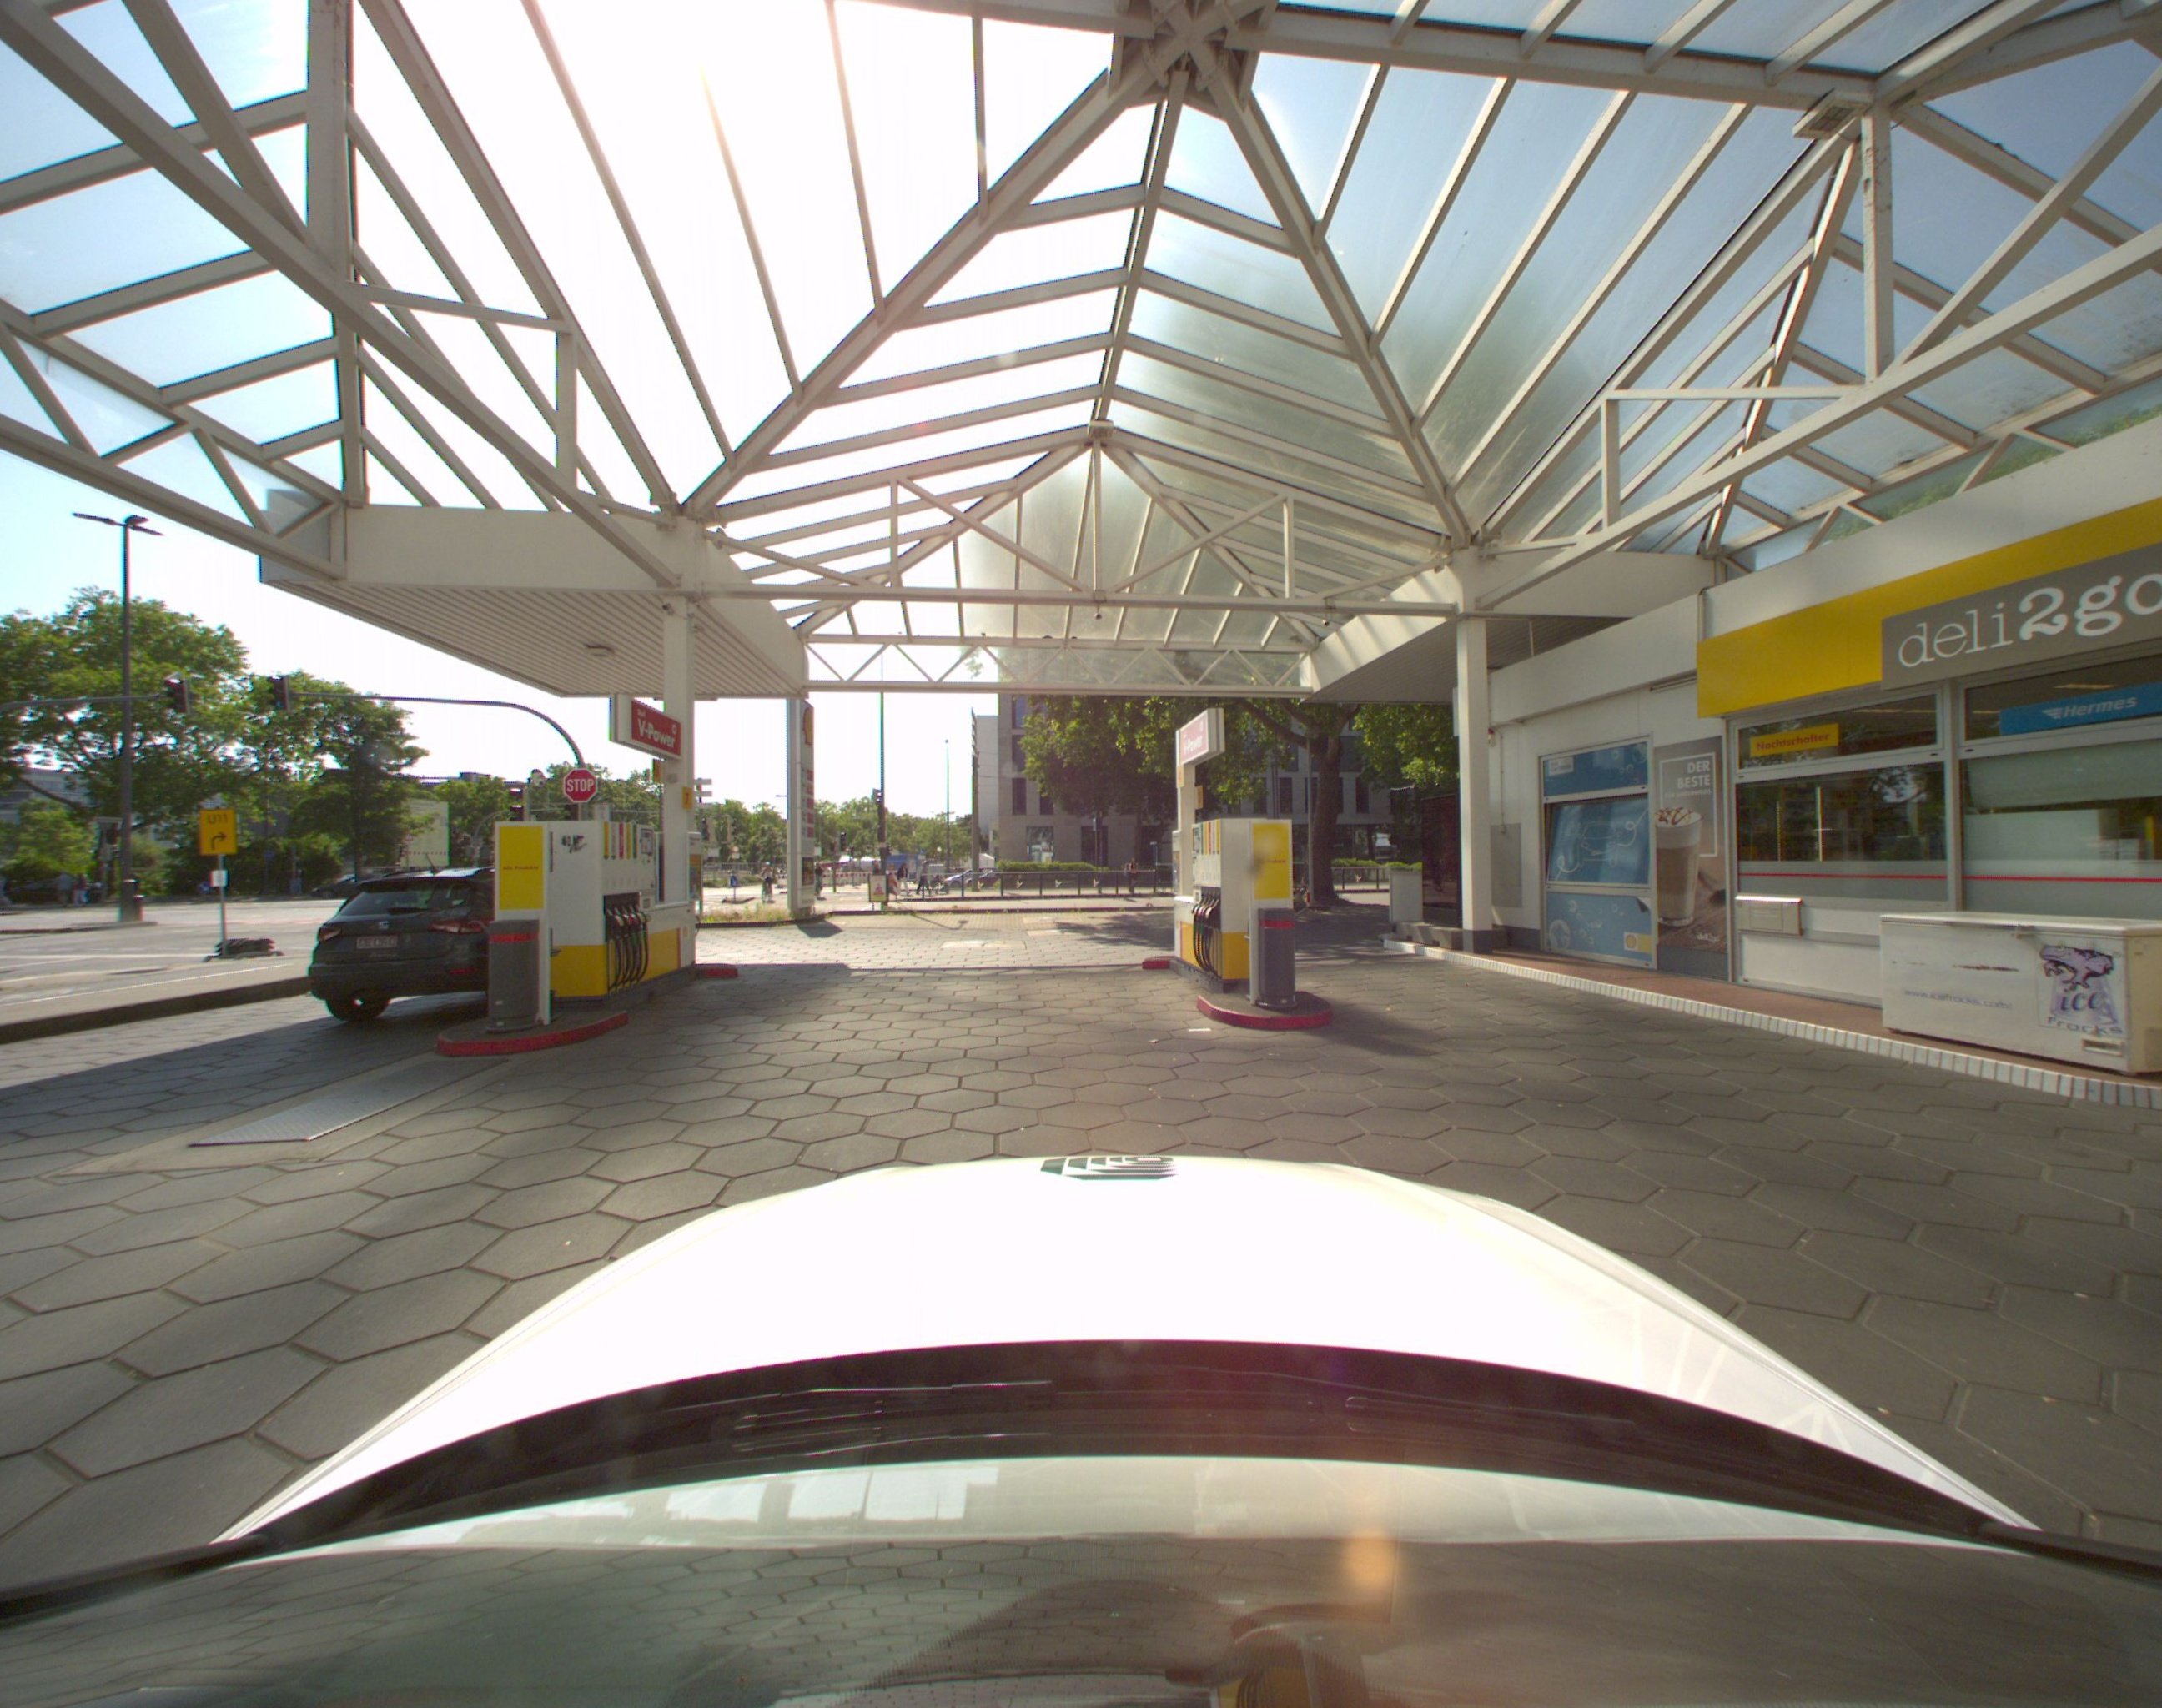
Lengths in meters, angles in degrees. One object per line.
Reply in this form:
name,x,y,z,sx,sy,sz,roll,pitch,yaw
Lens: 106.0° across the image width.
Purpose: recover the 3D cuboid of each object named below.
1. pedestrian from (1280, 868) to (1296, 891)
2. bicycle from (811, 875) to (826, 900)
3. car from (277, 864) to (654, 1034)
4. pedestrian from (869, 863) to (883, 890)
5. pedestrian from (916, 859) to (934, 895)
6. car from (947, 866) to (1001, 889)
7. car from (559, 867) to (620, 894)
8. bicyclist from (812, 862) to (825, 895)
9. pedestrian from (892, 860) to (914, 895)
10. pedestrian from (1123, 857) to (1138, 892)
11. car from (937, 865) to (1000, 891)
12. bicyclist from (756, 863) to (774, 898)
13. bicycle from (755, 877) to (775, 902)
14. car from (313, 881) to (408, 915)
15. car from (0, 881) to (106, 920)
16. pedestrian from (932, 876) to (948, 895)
pedestrian,10.060,1.233,39.661,0.626,1.138,0.524,-1,-1,0
bicycle,-12.563,1.574,38.976,0.525,1.082,1.852,0,1,-24
car,-6.852,0.929,9.706,1.742,1.532,3.991,-2,-1,-6
pedestrian,-11.616,1.260,46.237,0.647,1.540,0.503,-1,-1,3
pedestrian,-7.498,1.110,39.098,0.775,1.683,0.502,-1,-1,-5
car,-7.536,1.643,57.191,3.684,1.552,1.585,-1,-1,-12
car,-38.685,2.060,64.267,1.987,2.014,4.447,-3,-1,0
bicyclist,-12.578,1.167,39.018,0.535,1.544,0.859,0,-2,-23
pedestrian,-8.656,1.143,39.719,0.928,1.683,0.503,-1,-1,3
pedestrian,2.331,0.969,38.448,0.583,1.591,0.669,-1,1,-7
car,-7.321,1.541,53.032,3.989,1.552,1.696,-1,-1,-12
bicyclist,-14.615,1.205,37.657,0.639,1.580,1.167,0,-1,-14
bicycle,-14.615,1.634,37.692,0.639,1.082,2.015,0,-1,-15
car,-44.826,2.712,50.792,4.231,1.805,1.977,-2,-1,-37
car,-60.207,2.686,47.186,4.213,1.804,1.987,-2,5,-21
pedestrian,-6.765,1.496,39.143,0.689,0.880,0.502,-1,-1,-5
